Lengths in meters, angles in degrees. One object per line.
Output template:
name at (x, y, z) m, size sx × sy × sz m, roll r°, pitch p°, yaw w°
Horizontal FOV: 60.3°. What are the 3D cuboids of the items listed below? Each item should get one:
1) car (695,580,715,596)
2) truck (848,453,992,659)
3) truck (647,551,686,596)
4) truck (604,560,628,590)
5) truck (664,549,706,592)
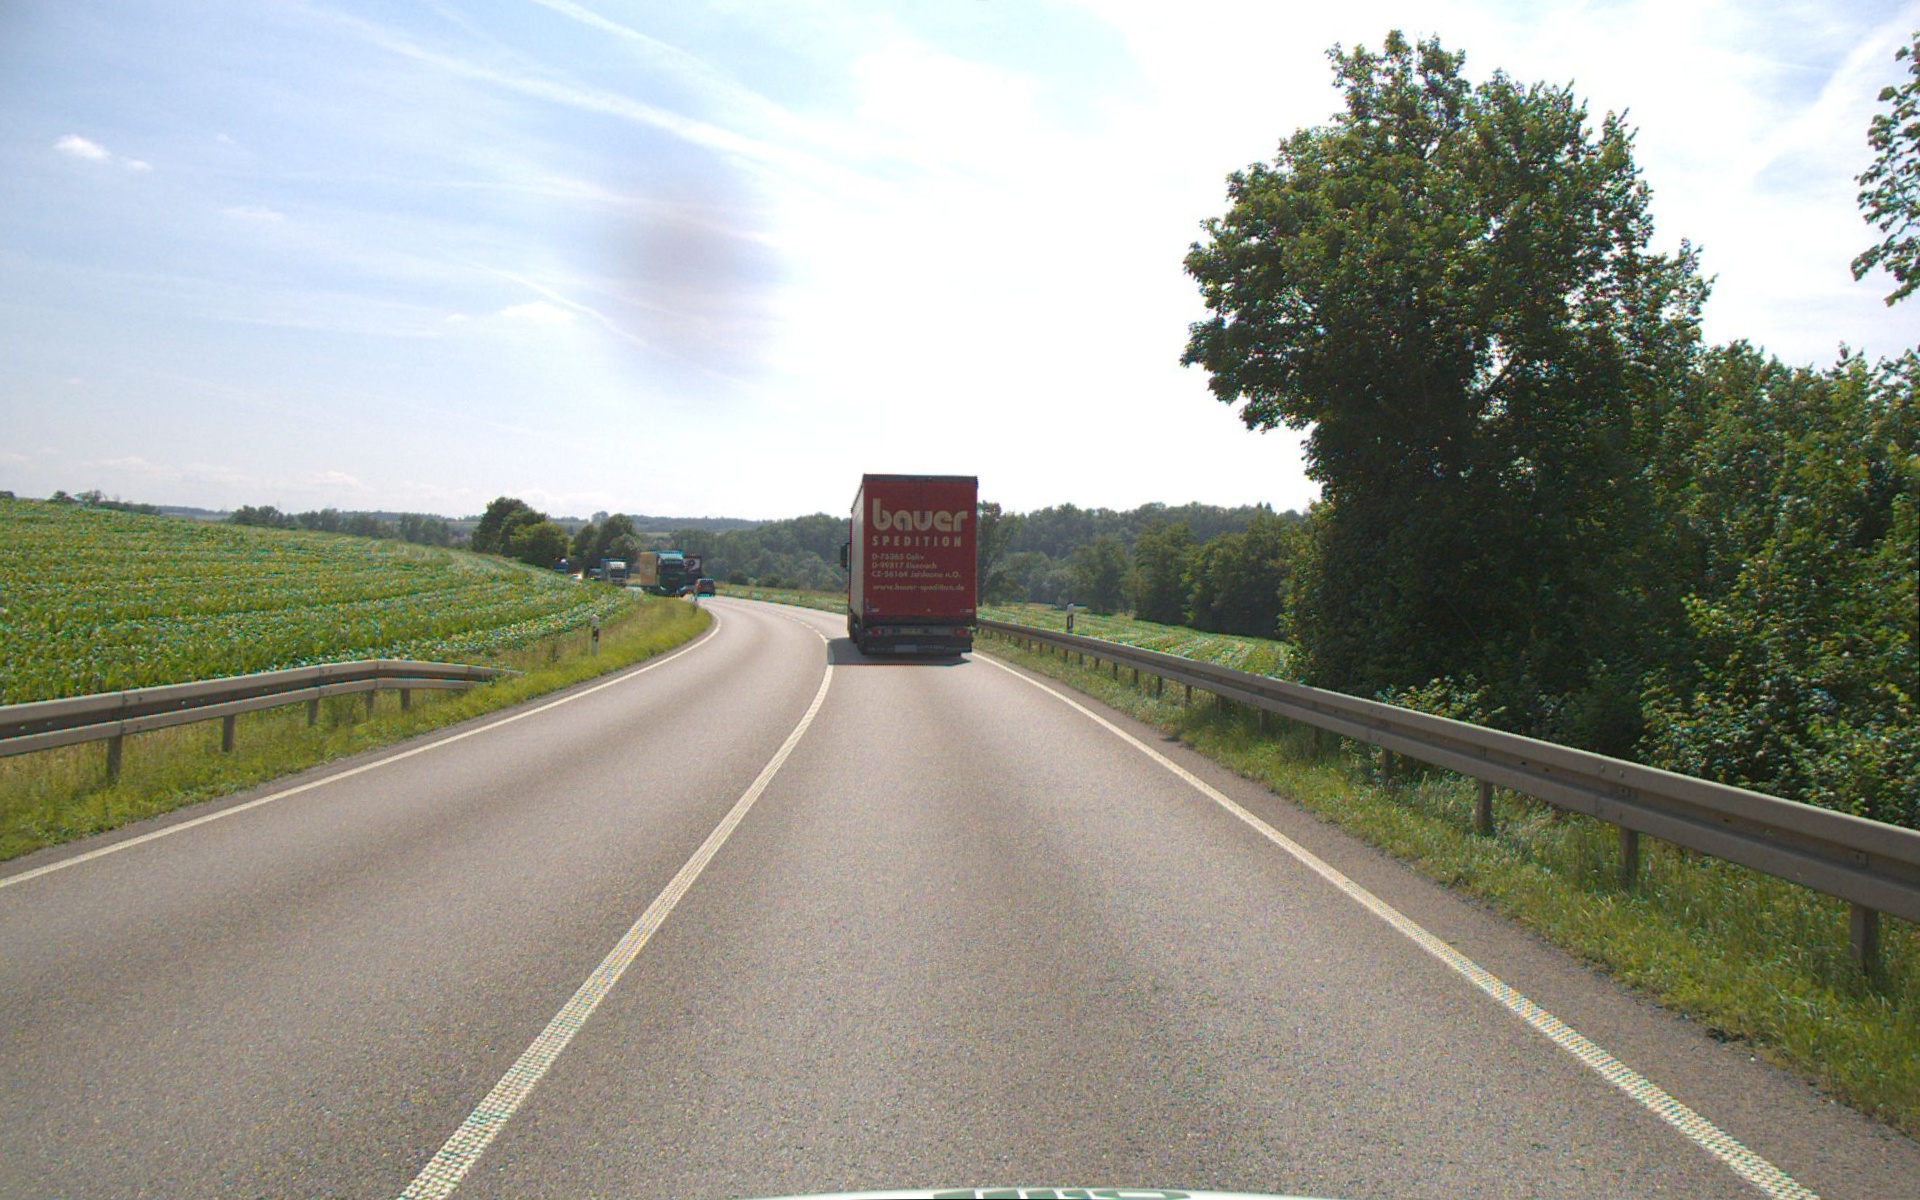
car at (-24.805, -1.192, 160.770) m, size 1.555 × 1.527 × 3.862 m, roll 1°, pitch 1°, yaw -14°
truck at (-0.971, -0.949, 39.280) m, size 3.032 × 4.337 × 8.311 m, roll 0°, pitch 0°, yaw -2°
truck at (-28.553, -2.519, 160.248) m, size 2.723 × 4.068 × 16.970 m, roll 1°, pitch 1°, yaw -13°
truck at (-43.758, -3.210, 209.971) m, size 2.694 × 3.641 × 9.694 m, roll 1°, pitch 1°, yaw -13°
truck at (-30.059, -3.122, 180.285) m, size 3.578 × 4.367 × 11.942 m, roll 0°, pitch 0°, yaw -14°
